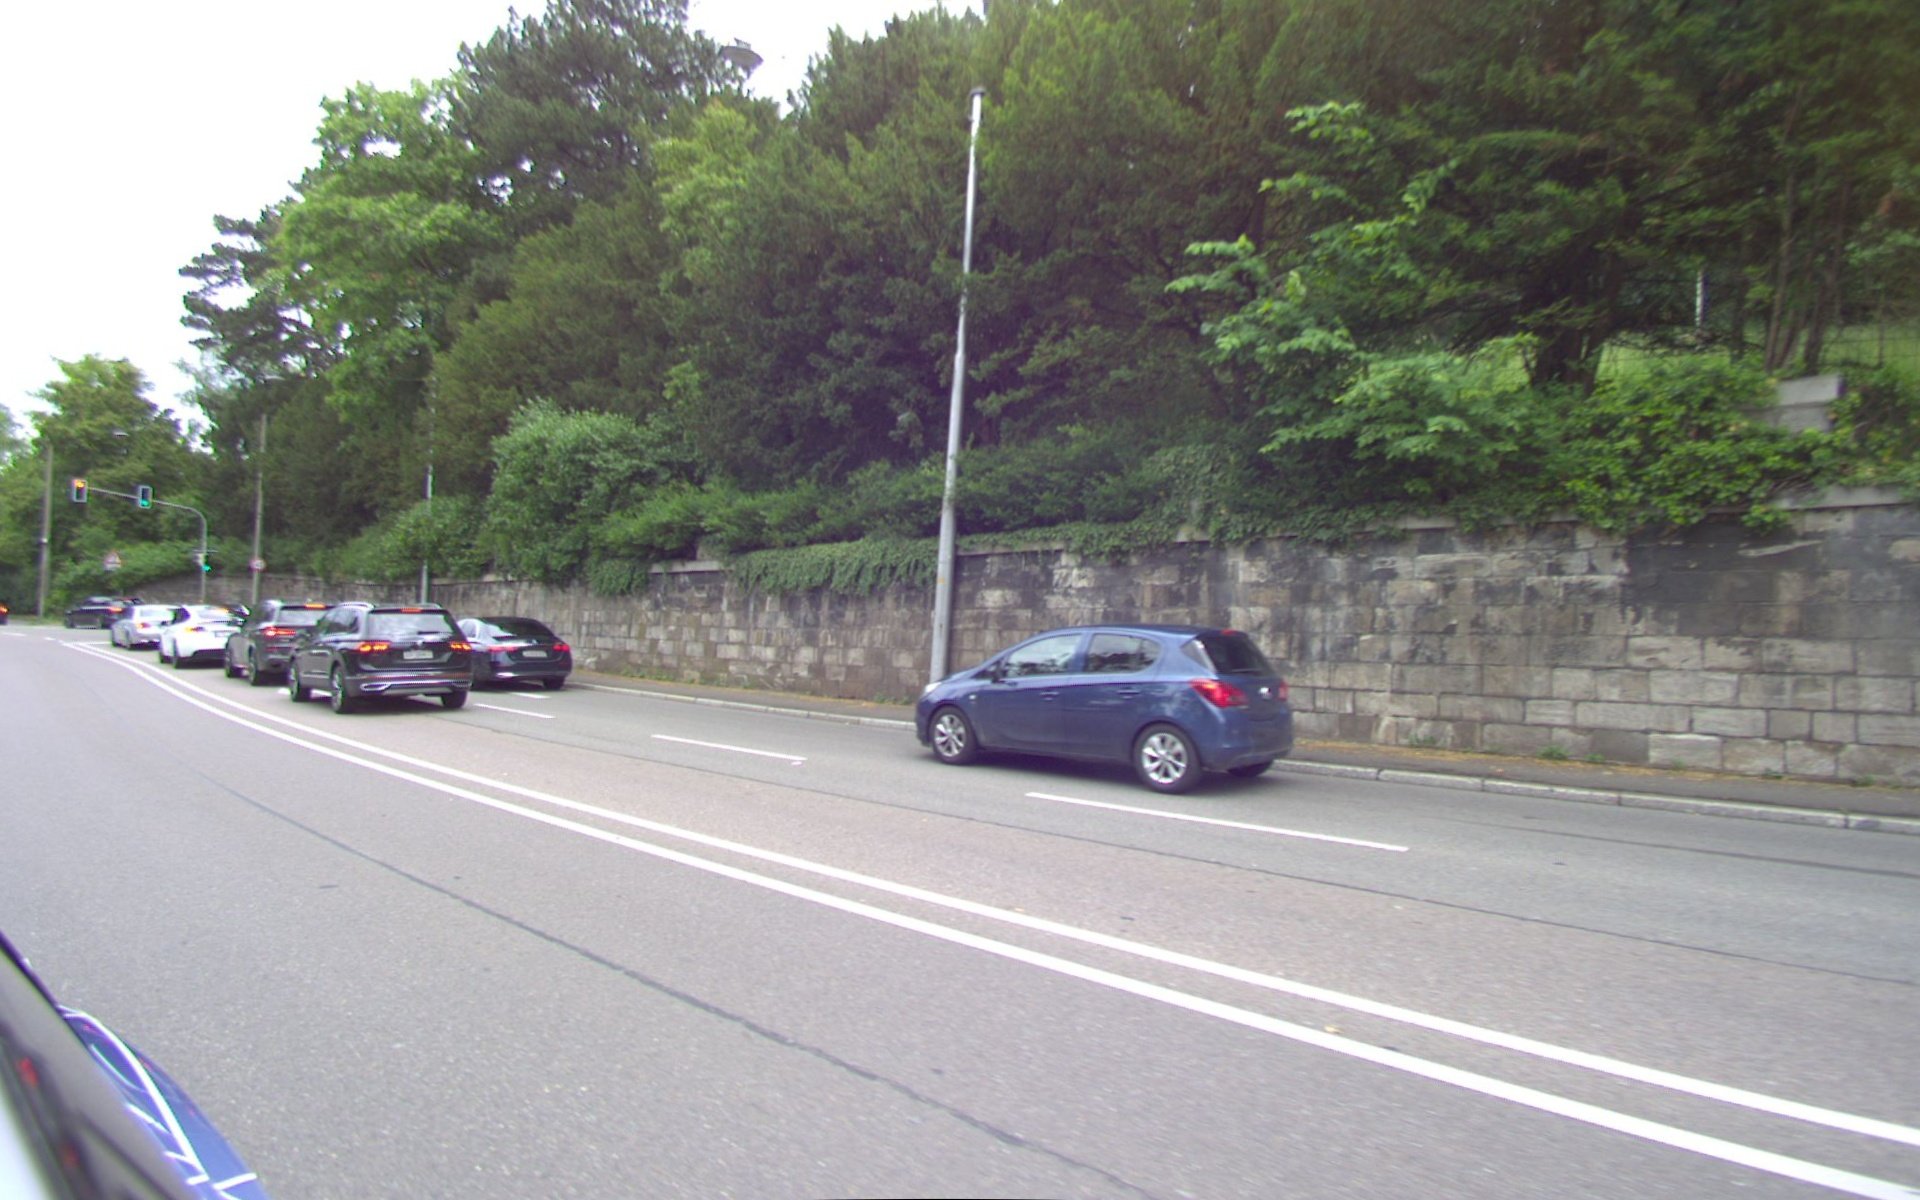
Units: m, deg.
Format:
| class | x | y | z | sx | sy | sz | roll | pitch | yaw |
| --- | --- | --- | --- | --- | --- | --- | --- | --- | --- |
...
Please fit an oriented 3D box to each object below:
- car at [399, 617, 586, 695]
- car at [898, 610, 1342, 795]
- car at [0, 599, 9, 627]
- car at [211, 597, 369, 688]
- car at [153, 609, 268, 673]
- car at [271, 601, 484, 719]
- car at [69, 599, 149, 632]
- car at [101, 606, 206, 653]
| class | x | y | z | sx | sy | sz | roll | pitch | yaw |
| --- | --- | --- | --- | --- | --- | --- | --- | --- | --- |
| car | -9.879 | 1.103 | 21.175 | 4.757 | 1.420 | 1.979 | 0 | -2 | 44 |
| car | 1.436 | 0.861 | 9.989 | 3.999 | 1.447 | 1.823 | -1 | -3 | 42 |
| car | -52.419 | 0.654 | 53.430 | 4.022 | 1.463 | 1.726 | 0 | 0 | 22 |
| car | -14.666 | 0.867 | 22.036 | 1.937 | 1.763 | 4.881 | 3 | -2 | -44 |
| car | -20.169 | 1.029 | 27.154 | 1.816 | 1.566 | 4.791 | 1 | -1 | -45 |
| car | -9.620 | 0.886 | 16.541 | 4.626 | 1.664 | 1.827 | 0 | -3 | 45 |
| car | -38.833 | 0.692 | 46.149 | 3.944 | 1.445 | 1.619 | 0 | 0 | 31 |
| car | -27.720 | 0.976 | 34.717 | 4.876 | 1.481 | 1.972 | 0 | -2 | 41 |
